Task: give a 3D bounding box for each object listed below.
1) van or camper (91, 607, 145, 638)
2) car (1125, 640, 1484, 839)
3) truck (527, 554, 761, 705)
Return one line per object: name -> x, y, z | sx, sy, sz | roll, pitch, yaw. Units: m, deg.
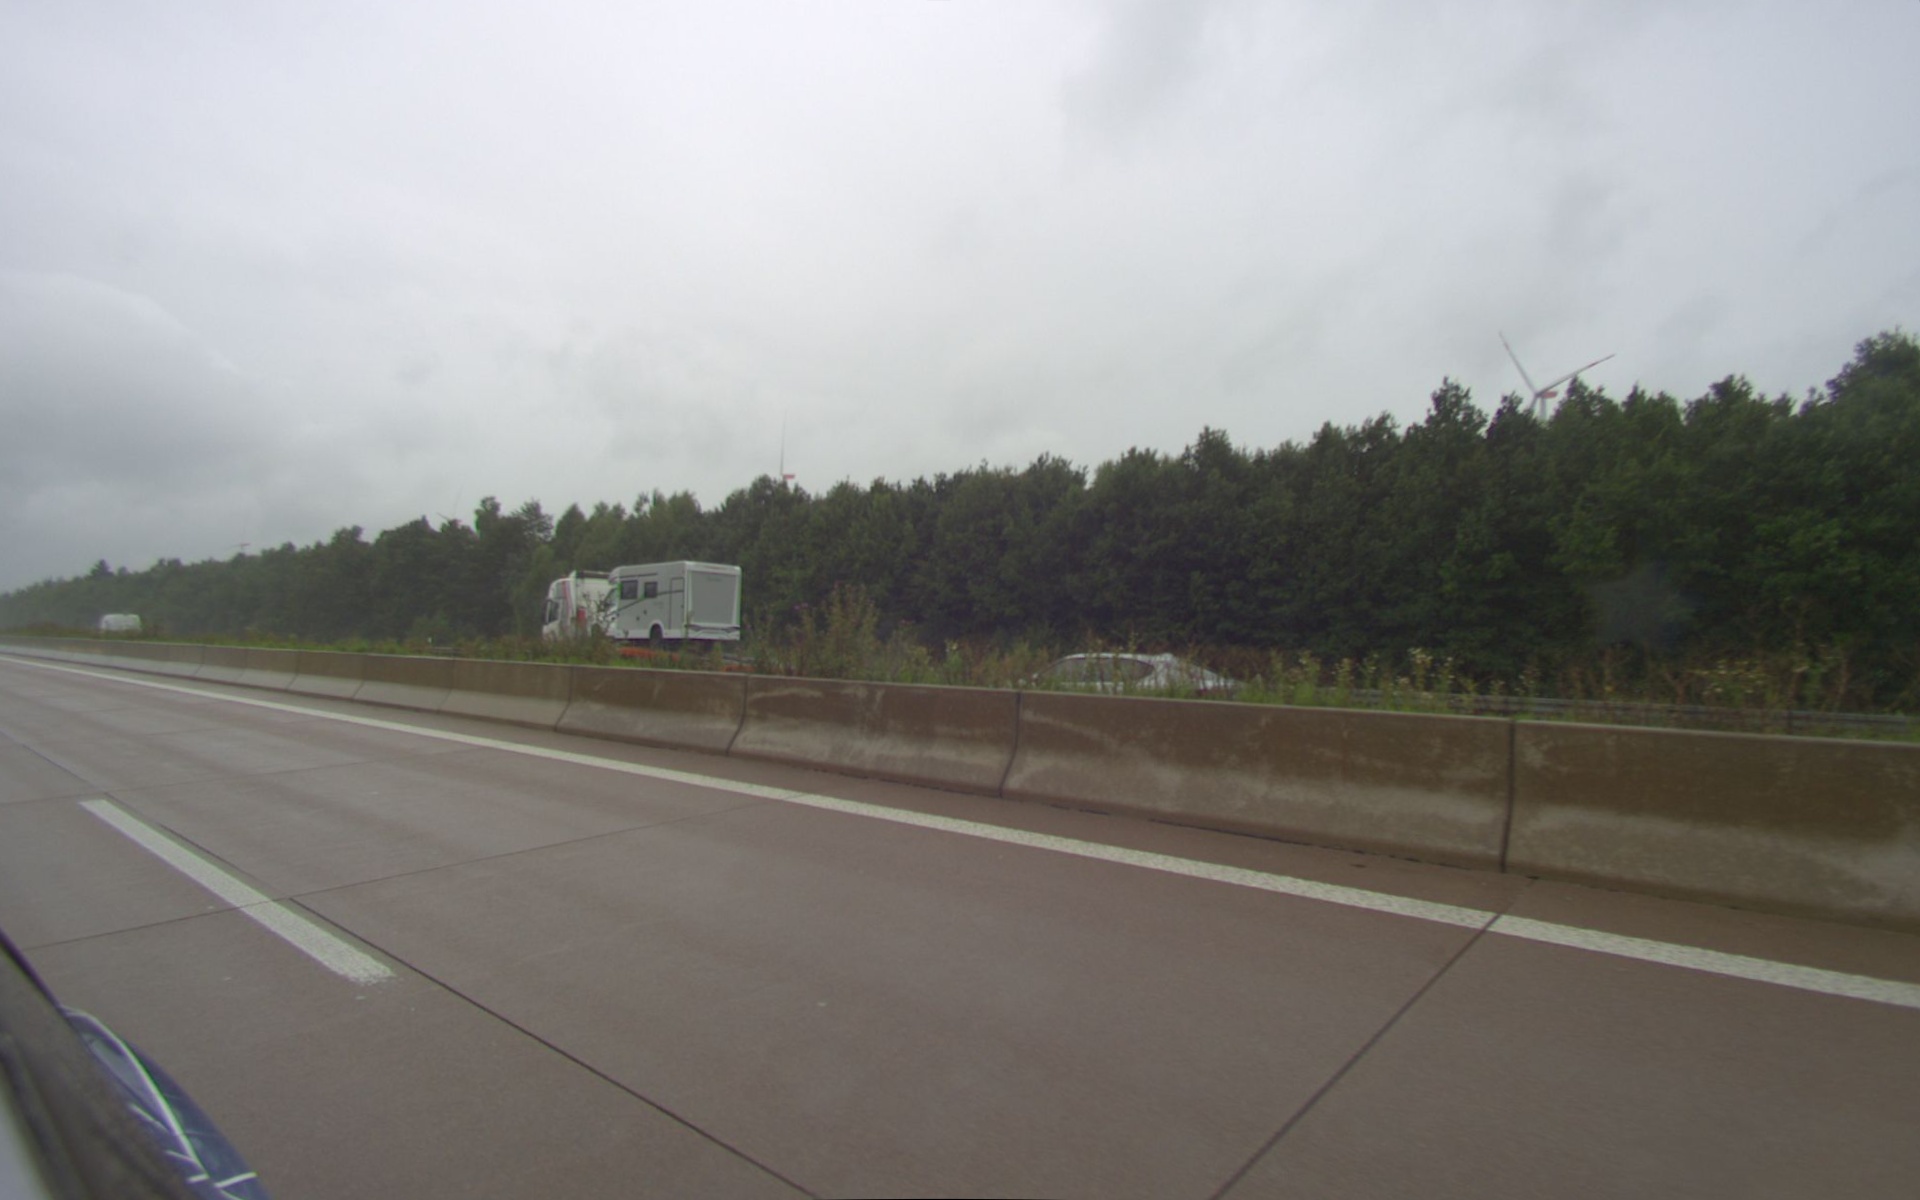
van or camper -> -64.325, 1.690, 77.246 | 5.716, 2.222, 2.108 | -1, 1, 39
car -> 4.335, 1.608, 13.085 | 3.999, 2.029, 1.764 | -1, 1, 42
truck -> -11.034, 0.922, 34.556 | 9.555, 4.505, 3.112 | -1, 1, 42
